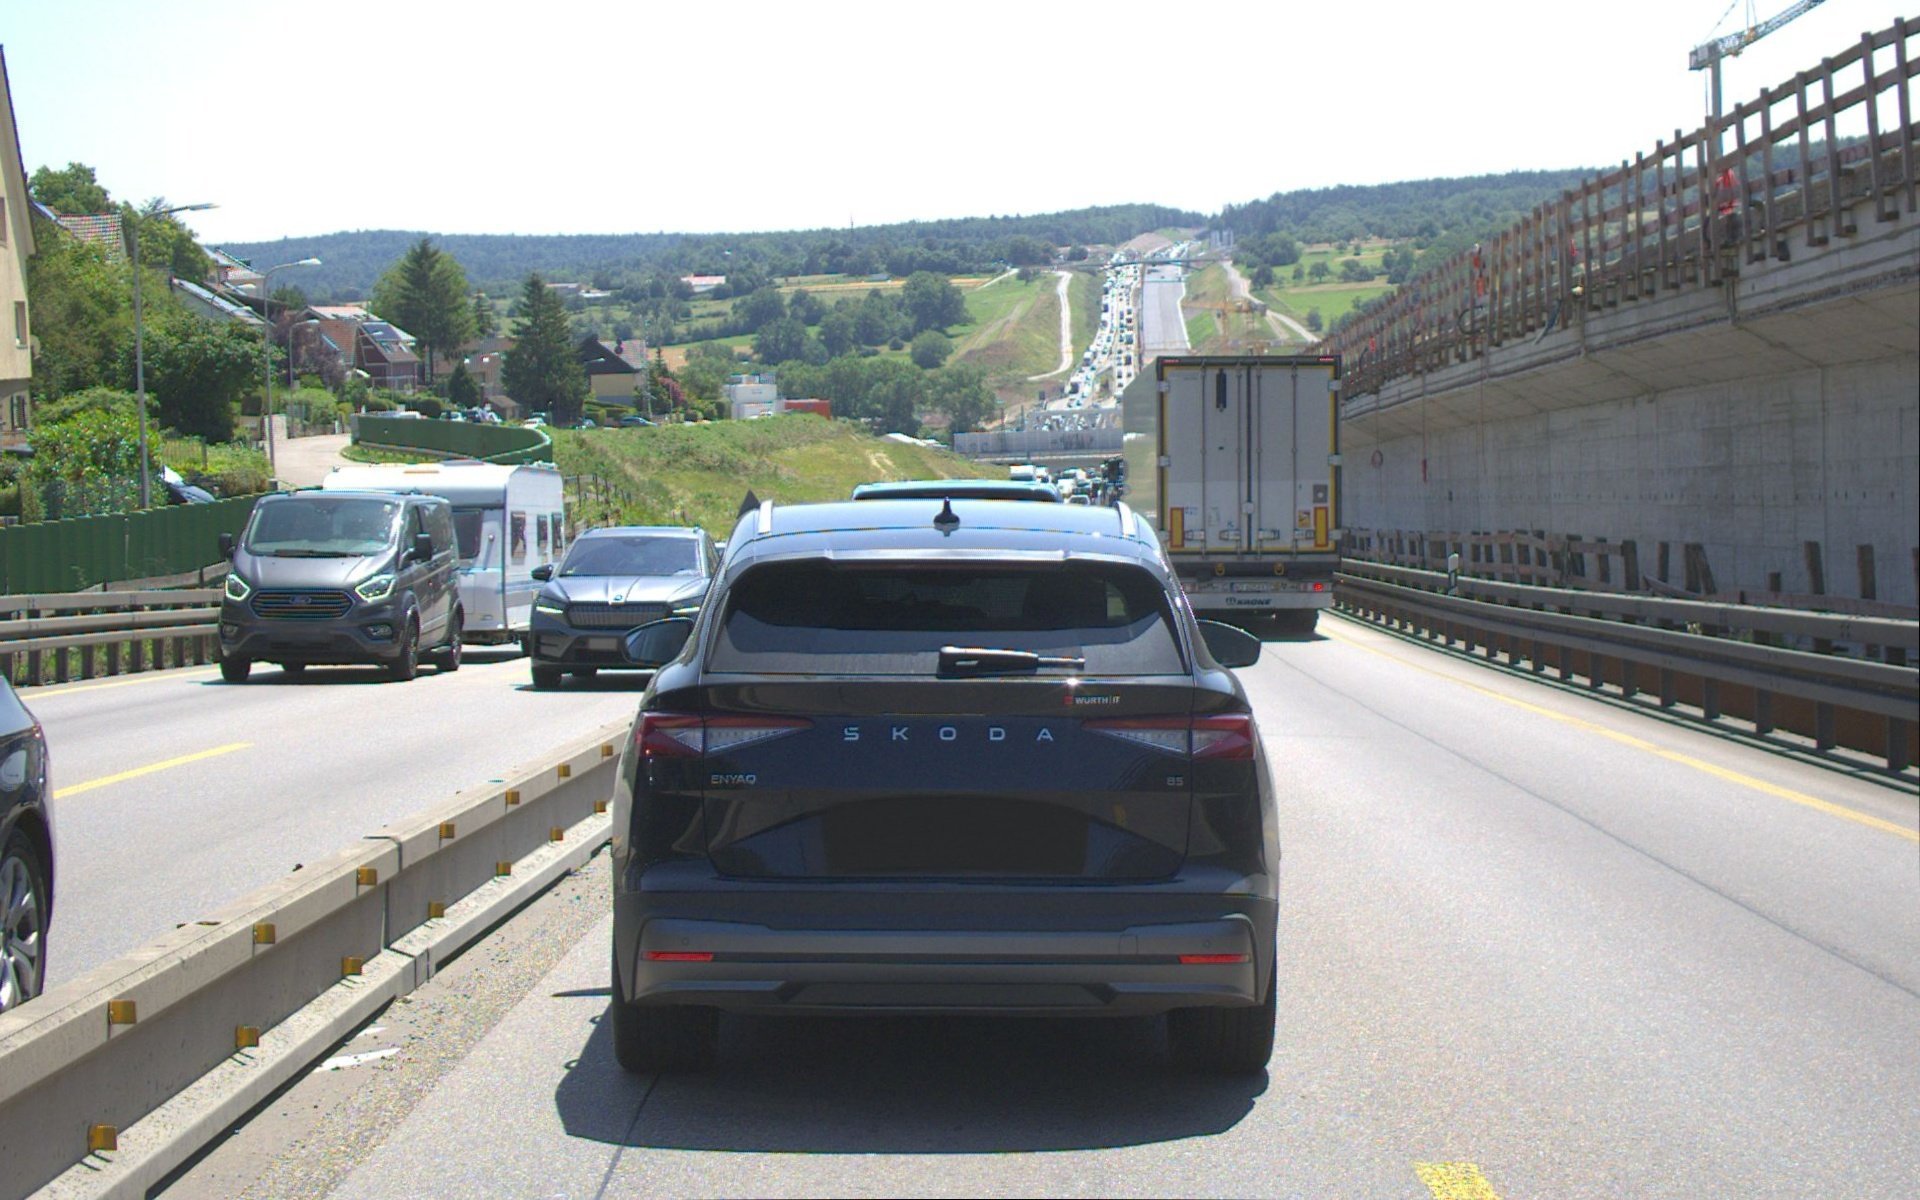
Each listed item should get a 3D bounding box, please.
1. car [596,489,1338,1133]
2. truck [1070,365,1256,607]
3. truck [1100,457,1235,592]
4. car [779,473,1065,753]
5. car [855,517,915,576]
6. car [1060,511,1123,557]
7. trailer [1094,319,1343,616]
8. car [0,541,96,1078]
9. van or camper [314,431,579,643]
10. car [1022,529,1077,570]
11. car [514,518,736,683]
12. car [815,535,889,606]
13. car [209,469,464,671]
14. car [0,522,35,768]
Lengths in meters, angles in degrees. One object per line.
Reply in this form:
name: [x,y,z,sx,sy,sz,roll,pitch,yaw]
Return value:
car: [-0.178,0.525,10.489,1.842,1.581,3.908,1,0,-6]
truck: [3.517,-1.898,61.301,2.513,4.011,8.238,1,0,-2]
truck: [5.200,-1.819,88.287,3.195,3.180,12.807,0,0,2]
car: [-0.356,0.038,25.236,1.706,1.875,4.001,1,1,-6]
car: [-2.028,-1.444,93.243,1.547,1.543,3.238,1,0,0]
car: [4.698,-2.349,123.298,1.993,1.579,3.836,1,0,-1]
trailer: [3.822,-1.842,53.669,2.531,4.113,11.549,1,0,-2]
car: [-3.639,0.576,8.363,1.993,1.499,4.649,1,0,-1]
van or camper: [-6.476,-0.751,44.155,2.354,2.508,6.327,1,0,1]
car: [3.595,-2.017,138.306,1.993,1.579,3.836,1,0,-1]
car: [-3.399,0.005,35.618,1.872,1.581,4.479,1,0,0]
car: [-2.394,-0.638,76.938,1.547,1.543,3.238,1,0,0]
car: [-6.561,-0.302,36.563,1.993,2.007,4.000,1,0,0]
car: [-6.582,0.258,18.965,1.842,1.455,4.178,1,0,0]
